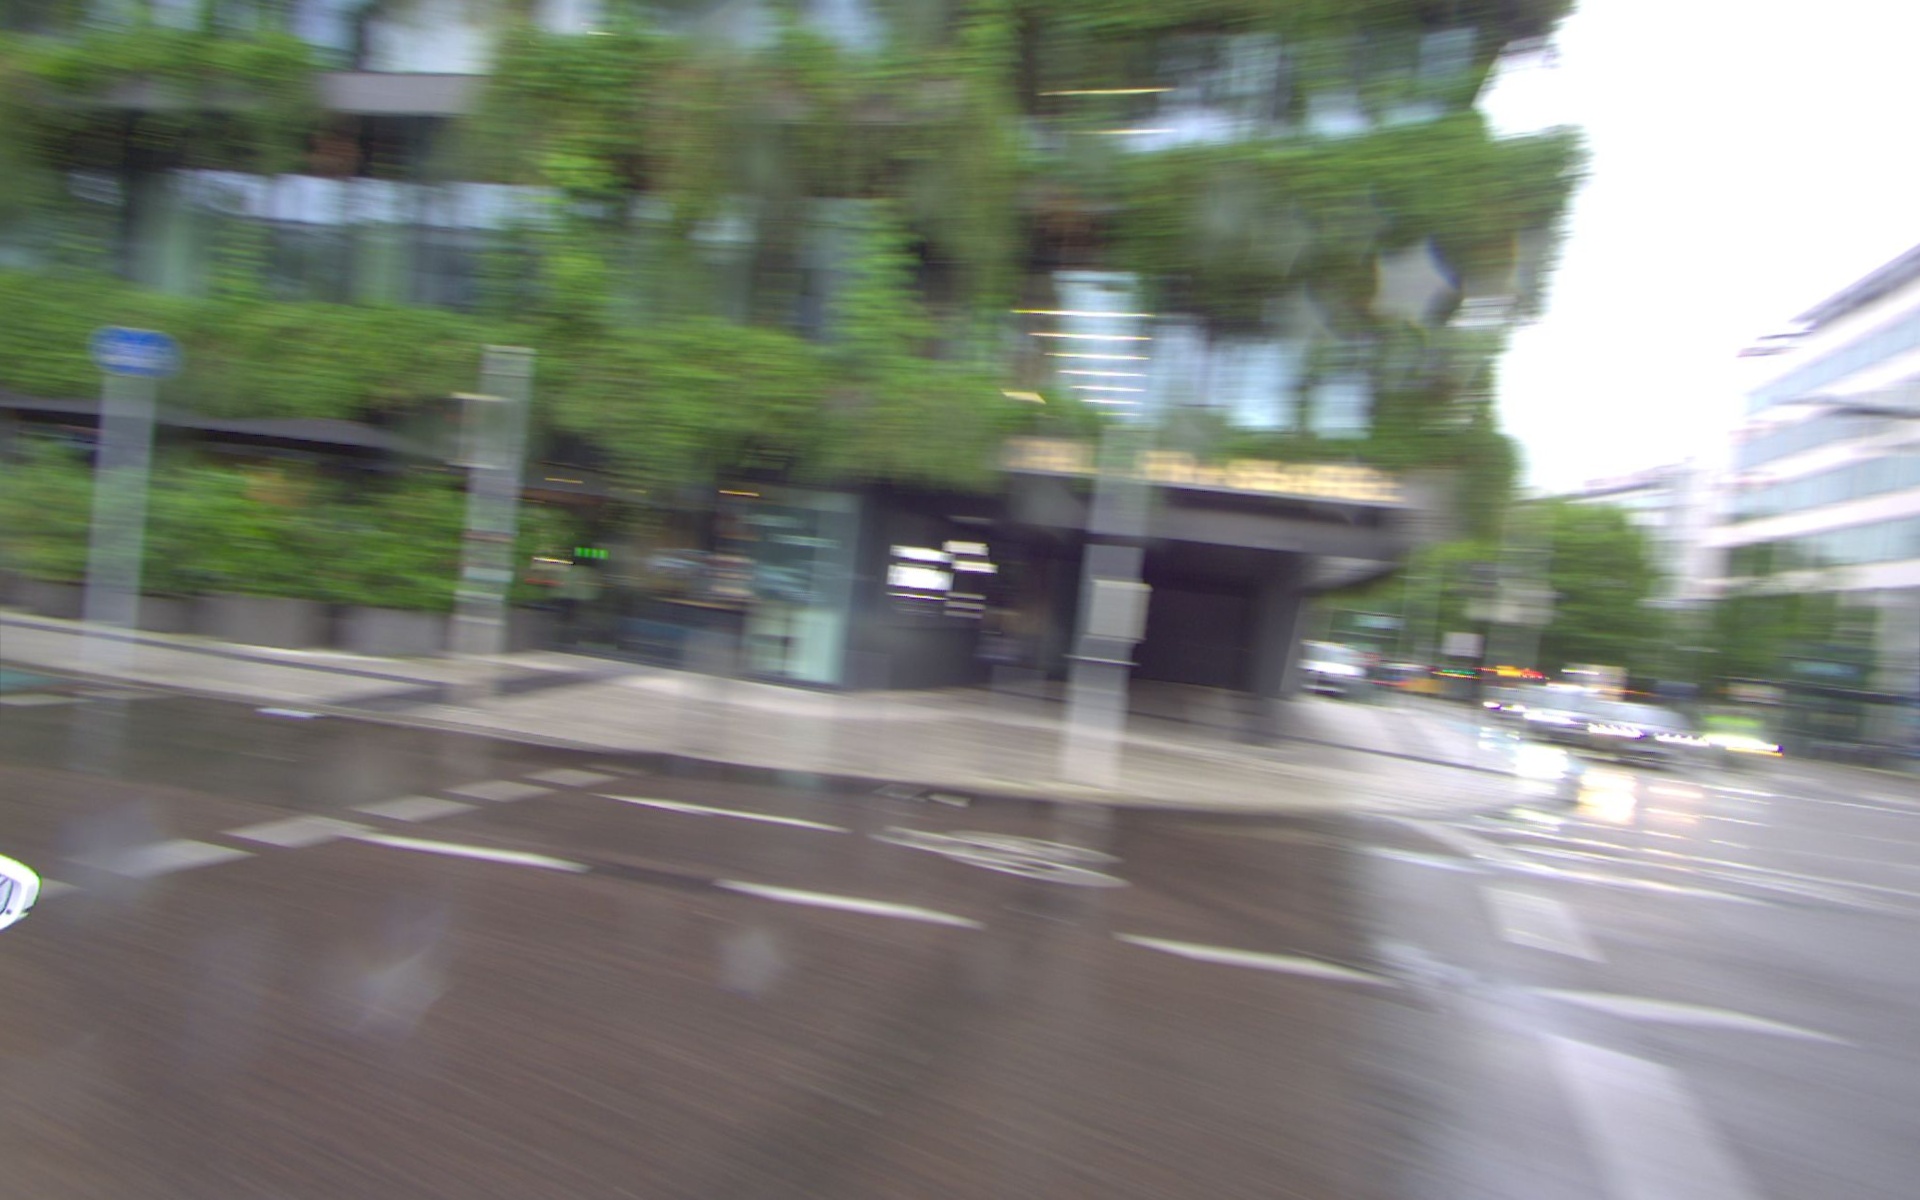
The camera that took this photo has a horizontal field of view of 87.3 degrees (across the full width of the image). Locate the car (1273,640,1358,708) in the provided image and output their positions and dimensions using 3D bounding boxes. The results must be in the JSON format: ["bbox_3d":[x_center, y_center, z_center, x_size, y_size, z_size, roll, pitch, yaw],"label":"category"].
[{"bbox_3d":[12.426,2.523,35.496,2.079,1.979,4.873,6,-1,13],"label":"car"}]

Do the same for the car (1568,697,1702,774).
[{"bbox_3d":[16.863,3.335,25.350,1.794,1.516,4.206,6,-3,21],"label":"car"}]

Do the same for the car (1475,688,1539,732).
[{"bbox_3d":[24.512,4.891,45.234,1.794,1.654,4.501,6,-3,21],"label":"car"}]

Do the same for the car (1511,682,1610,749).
[{"bbox_3d":[19.292,3.679,32.540,1.794,1.778,4.779,6,-3,21],"label":"car"}]

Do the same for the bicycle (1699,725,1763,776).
[{"bbox_3d":[20.684,4.024,27.033,0.794,1.149,2.091,6,-2,23],"label":"bicycle"}]

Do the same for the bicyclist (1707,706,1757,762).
[{"bbox_3d":[20.736,3.582,27.036,0.781,1.352,0.743,6,-1,23],"label":"bicyclist"}]
